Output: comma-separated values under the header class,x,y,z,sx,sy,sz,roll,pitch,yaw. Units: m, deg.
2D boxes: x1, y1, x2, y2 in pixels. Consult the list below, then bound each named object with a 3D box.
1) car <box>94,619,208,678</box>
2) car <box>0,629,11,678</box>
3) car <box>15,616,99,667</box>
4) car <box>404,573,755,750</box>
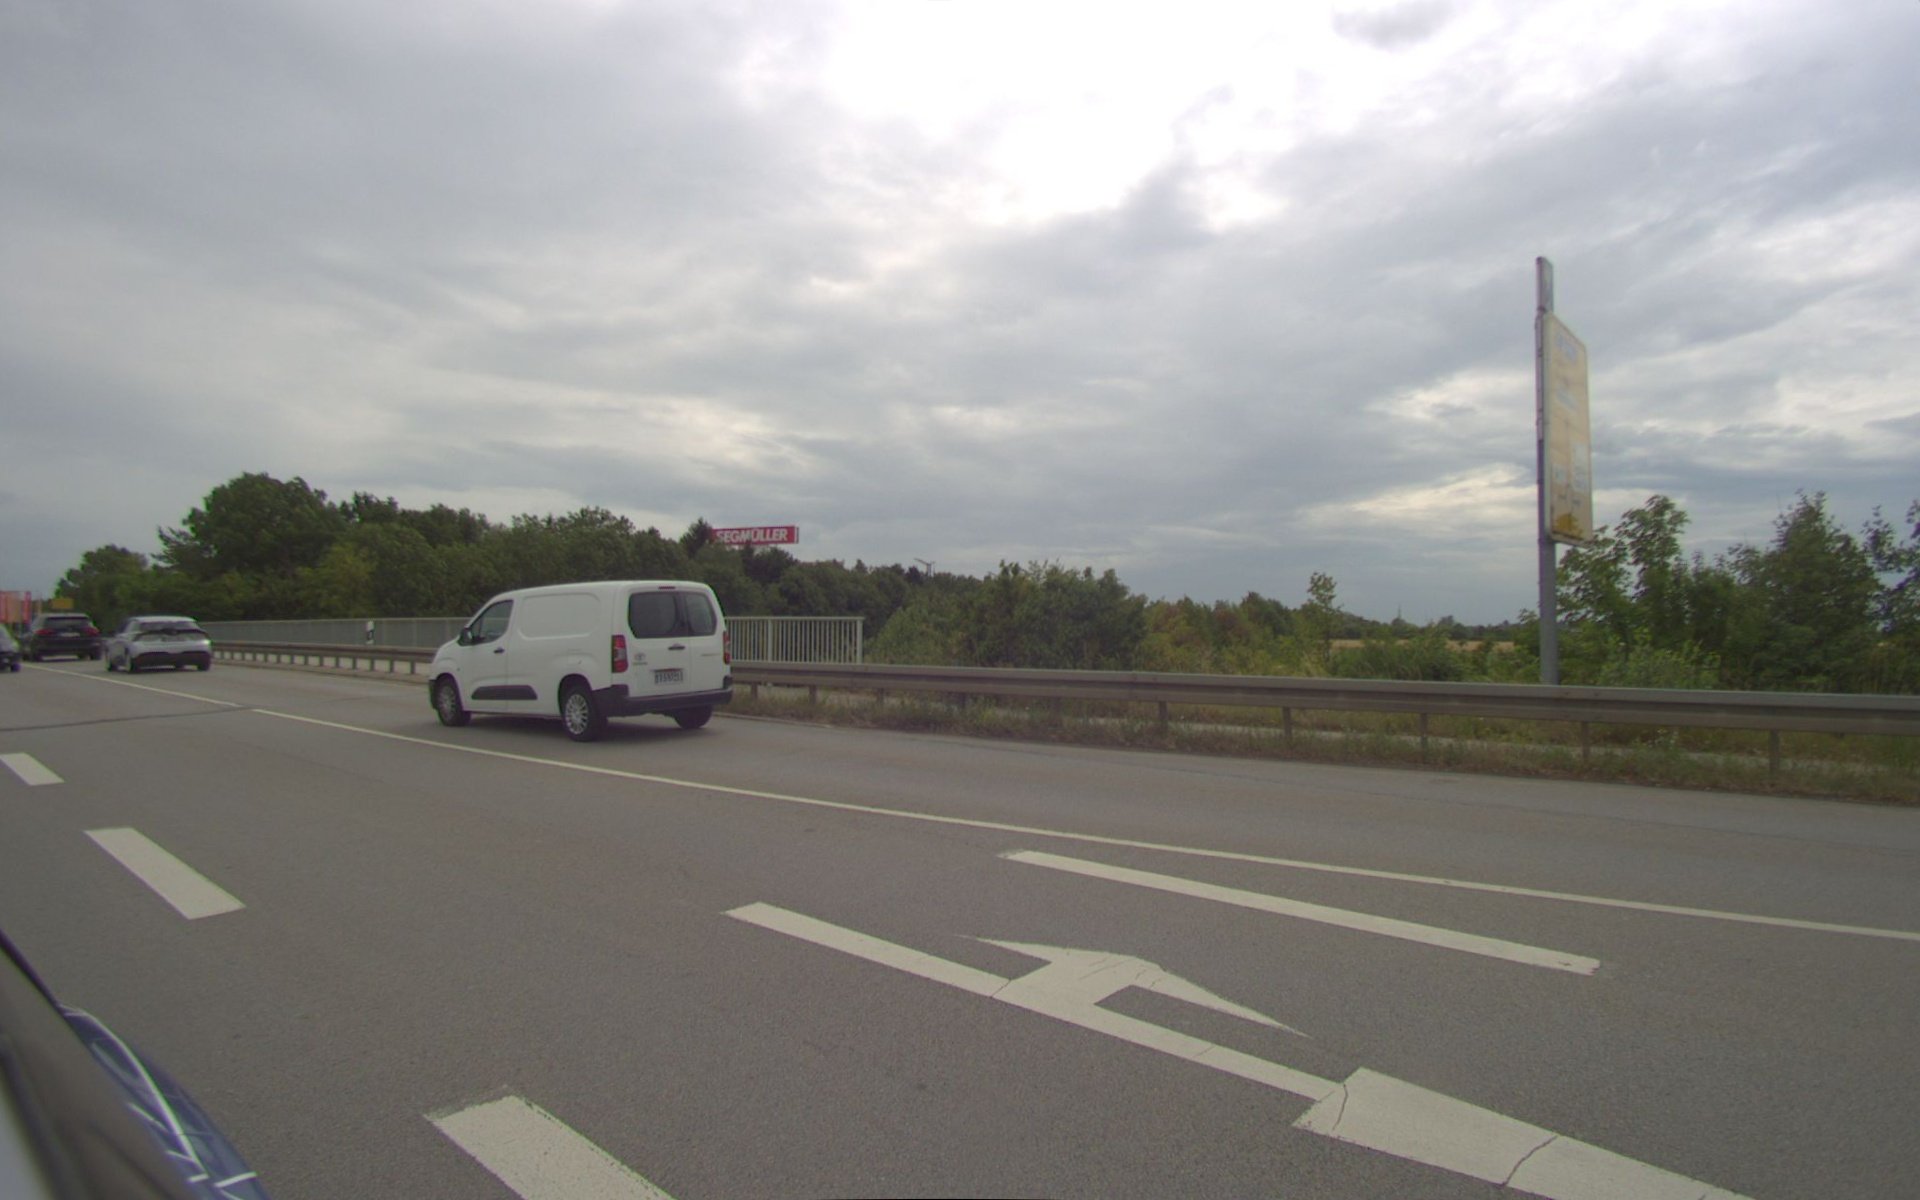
class,x,y,z,sx,sy,sz,roll,pitch,yaw
car,-22.412,1.284,27.977,4.276,1.498,1.694,-1,-1,41
car,-28.422,1.518,28.900,3.822,1.364,1.559,-1,-1,41
car,-33.630,1.492,37.644,4.763,1.745,1.971,-1,-1,44
car,-5.015,0.693,13.028,4.811,1.889,1.936,-1,-1,37
